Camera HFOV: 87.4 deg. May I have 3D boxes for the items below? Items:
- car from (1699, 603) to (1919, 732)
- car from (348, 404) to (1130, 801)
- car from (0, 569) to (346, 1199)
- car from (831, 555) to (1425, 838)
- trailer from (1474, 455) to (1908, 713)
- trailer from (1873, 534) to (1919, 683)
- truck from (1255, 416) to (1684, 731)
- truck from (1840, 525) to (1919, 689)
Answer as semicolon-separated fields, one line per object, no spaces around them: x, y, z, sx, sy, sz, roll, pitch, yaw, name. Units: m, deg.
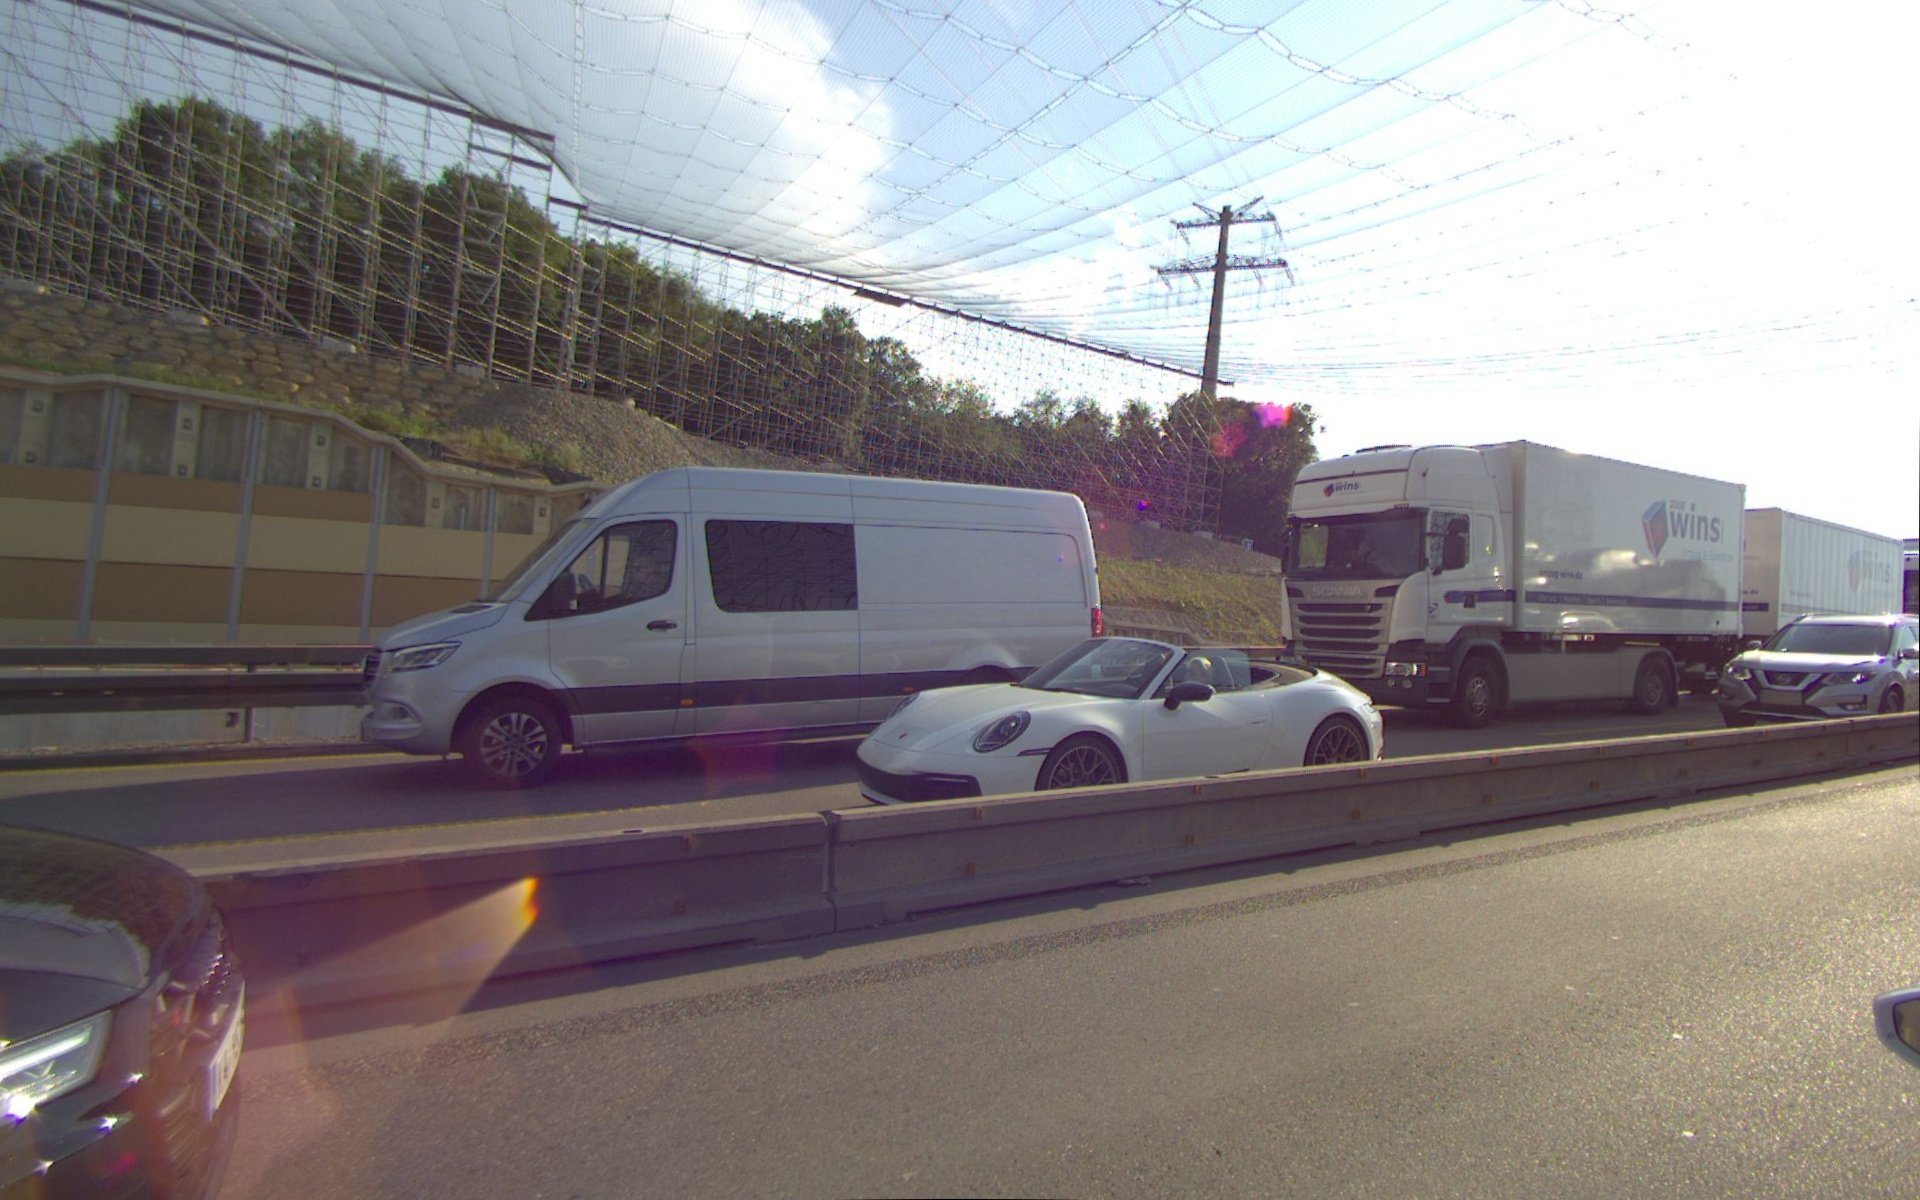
12.662;0.908;14.497;4.319;1.589;1.798;2;0;-33;car
-1.786;0.108;9.752;7.002;2.749;2.230;2;0;-31;car
-3.545;0.611;1.021;4.903;1.417;1.925;1;0;-31;car
1.389;0.593;7.567;4.319;1.589;1.798;2;0;-33;car
15.508;-0.080;20.562;13.191;4.069;2.654;2;0;-33;trailer
31.711;0.429;30.781;13.956;4.016;2.412;2;0;-35;trailer
8.103;-0.245;15.637;7.126;3.962;2.616;2;0;-32;truck
26.021;0.246;26.792;5.560;4.099;2.458;2;0;-34;truck
